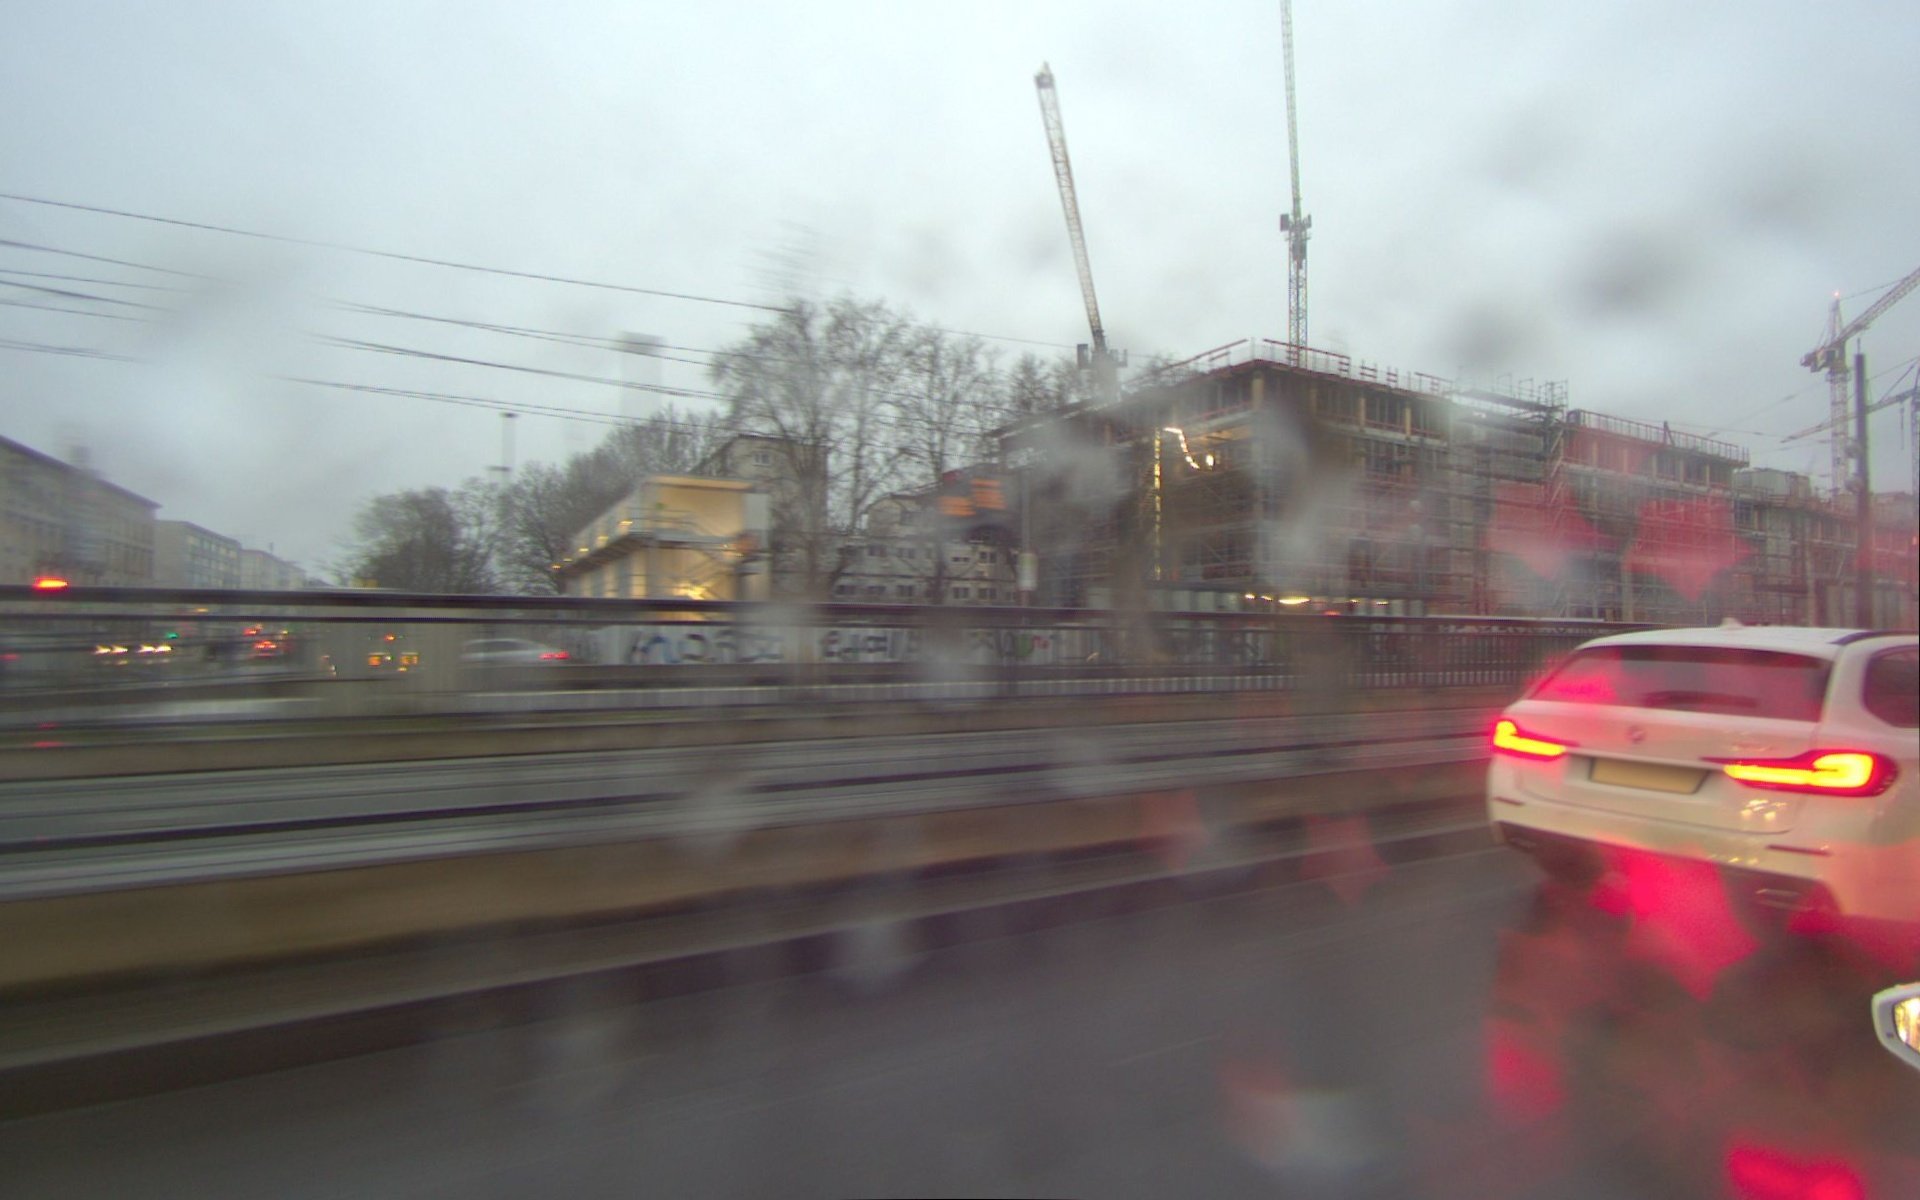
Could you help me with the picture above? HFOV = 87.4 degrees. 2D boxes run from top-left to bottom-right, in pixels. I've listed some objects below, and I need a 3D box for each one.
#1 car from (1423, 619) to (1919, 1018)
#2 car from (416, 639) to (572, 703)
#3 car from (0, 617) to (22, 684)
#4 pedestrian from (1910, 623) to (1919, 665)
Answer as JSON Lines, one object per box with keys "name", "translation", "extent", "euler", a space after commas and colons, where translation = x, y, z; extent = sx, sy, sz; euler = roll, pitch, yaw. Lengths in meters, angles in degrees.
{"name": "car", "translation": [5.038, 0.893, 5.813], "extent": [4.889, 1.485, 1.843], "euler": [2, -1, -30]}
{"name": "car", "translation": [-15.039, 2.229, 32.498], "extent": [4.341, 1.898, 1.861], "euler": [2, -1, -35]}
{"name": "car", "translation": [-25.559, 1.195, 24.089], "extent": [4.190, 1.637, 1.861], "euler": [2, -1, -35]}
{"name": "pedestrian", "translation": [36.568, 1.658, 38.049], "extent": [0.729, 1.571, 0.583], "euler": [1, -1, -20]}
